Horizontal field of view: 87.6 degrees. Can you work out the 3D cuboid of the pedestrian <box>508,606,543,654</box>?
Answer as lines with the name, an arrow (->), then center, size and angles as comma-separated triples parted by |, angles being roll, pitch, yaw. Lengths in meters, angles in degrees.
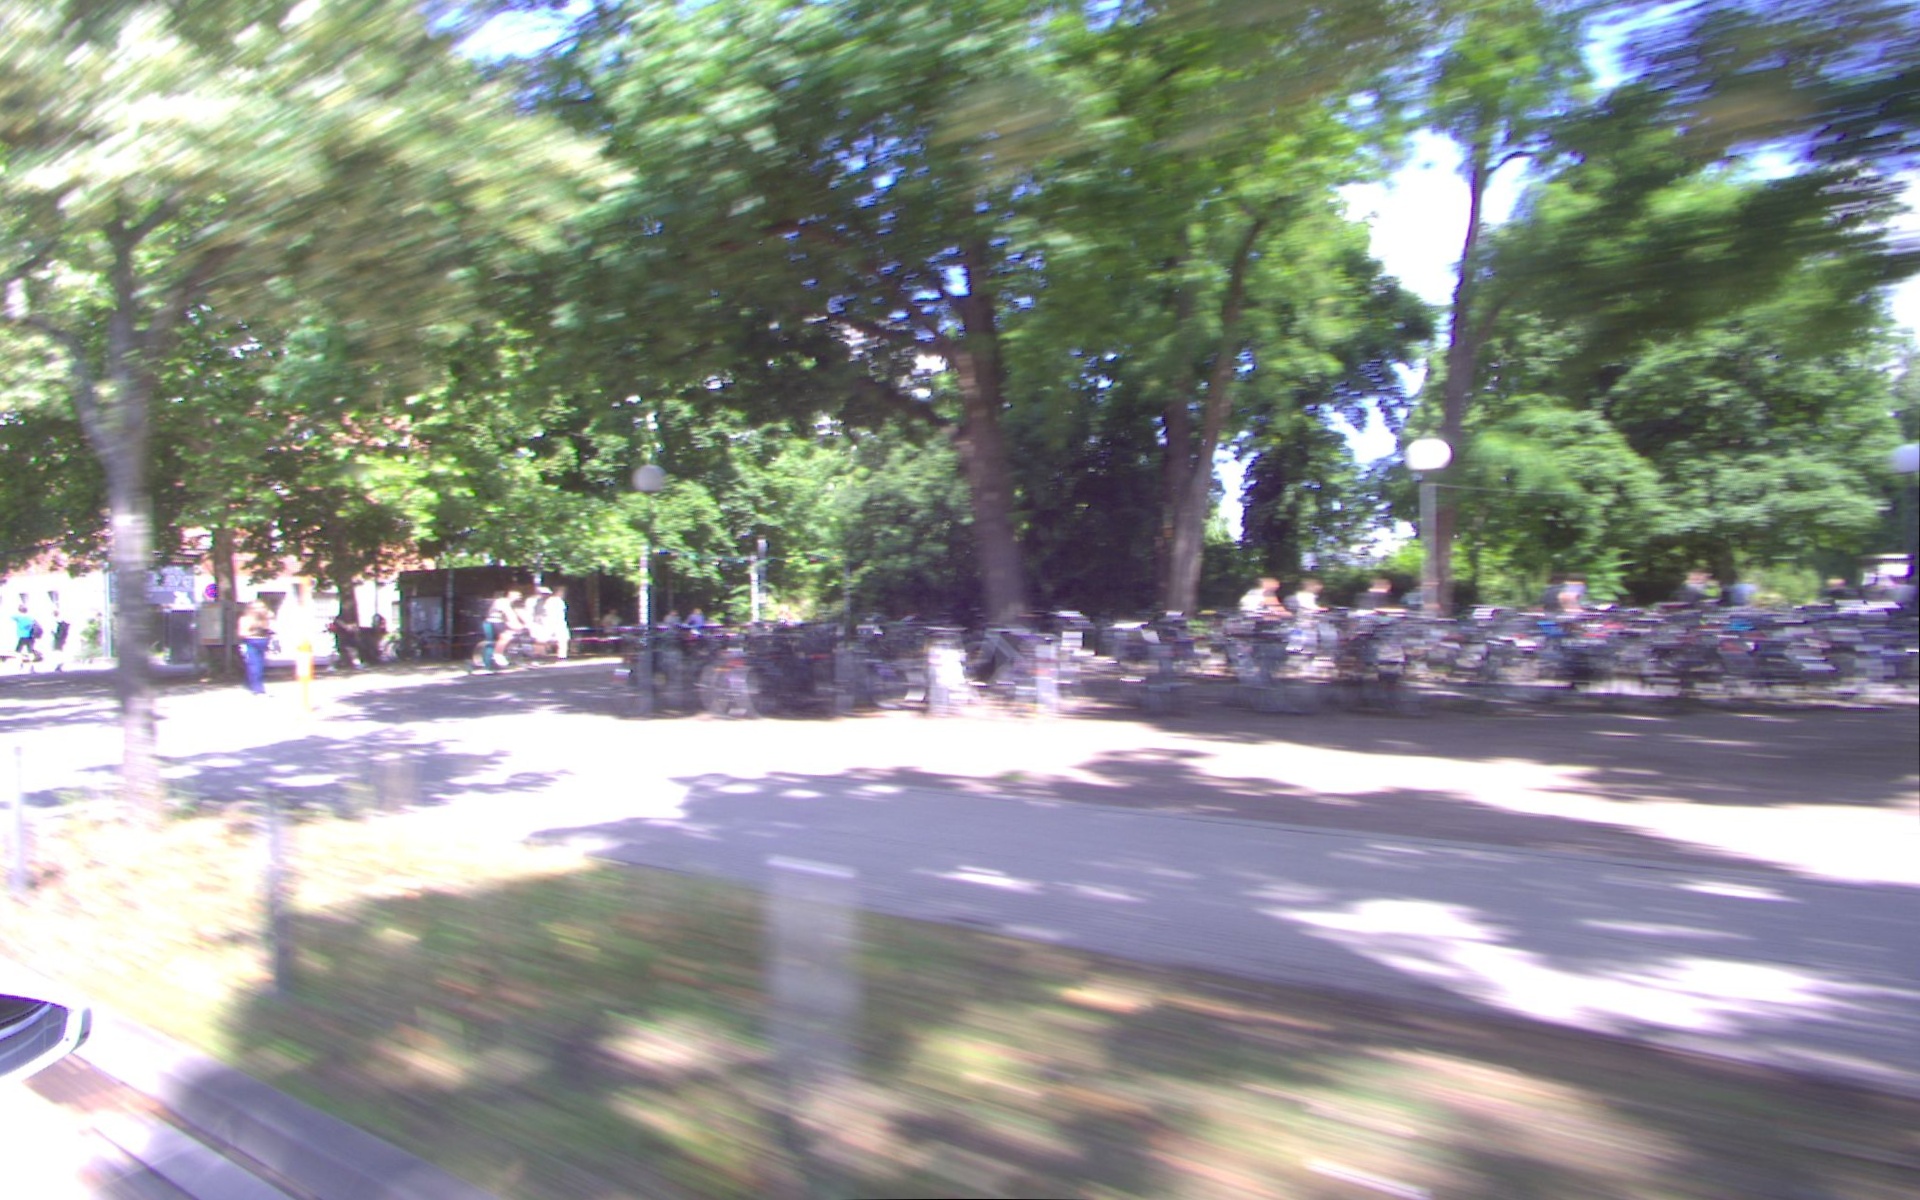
pedestrian -> -12.839, 0.887, 29.610 | 0.718, 1.365, 0.568 | 0, 3, 28

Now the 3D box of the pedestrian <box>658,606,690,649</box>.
pedestrian -> -8.870, 0.844, 31.037 | 0.612, 1.289, 0.665 | 0, 3, 27

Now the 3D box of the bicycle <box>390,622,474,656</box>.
bicycle -> -17.598, 1.288, 33.435 | 0.775, 1.085, 2.383 | -2, -2, 44

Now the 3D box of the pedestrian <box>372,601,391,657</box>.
pedestrian -> -20.053, 1.005, 34.730 | 0.523, 1.907, 0.445 | 0, 0, 42

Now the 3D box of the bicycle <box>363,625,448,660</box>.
bicycle -> -18.698, 1.413, 33.819 | 0.773, 1.086, 2.386 | -1, -1, 39

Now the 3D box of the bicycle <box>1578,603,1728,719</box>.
bicycle -> 7.700, 0.631, 11.225 | 0.395, 1.186, 1.793 | 0, 0, -2

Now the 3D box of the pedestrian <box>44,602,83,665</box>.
pedestrian -> -26.626, 0.984, 29.736 | 0.716, 1.822, 0.594 | 1, 3, 28

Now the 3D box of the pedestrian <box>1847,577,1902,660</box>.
pedestrian -> 20.329, 0.405, 22.272 | 0.711, 1.799, 0.740 | -1, 1, -33

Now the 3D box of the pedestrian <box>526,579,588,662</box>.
pedestrian -> -9.777, 0.480, 24.321 | 1.058, 1.975, 0.834 | -1, 2, 12

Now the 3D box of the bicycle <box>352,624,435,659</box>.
bicycle -> -19.419, 1.410, 34.366 | 0.775, 1.086, 2.381 | -2, -1, 44

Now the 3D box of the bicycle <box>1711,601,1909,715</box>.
bicycle -> 9.557, 0.605, 11.353 | 0.339, 1.186, 1.842 | -1, 0, -15

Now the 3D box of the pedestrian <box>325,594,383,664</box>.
pedestrian -> -15.949, 0.751, 26.377 | 0.904, 1.799, 0.958 | 0, 1, 24

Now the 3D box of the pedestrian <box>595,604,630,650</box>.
pedestrian -> -10.766, 0.835, 31.035 | 0.708, 1.365, 0.665 | 0, 3, 27

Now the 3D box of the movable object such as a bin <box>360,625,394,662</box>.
movable object such as a bin -> -17.599, 1.305, 30.250 | 0.732, 1.085, 0.598 | -3, -1, 33

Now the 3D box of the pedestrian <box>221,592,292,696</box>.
pedestrian -> -11.165, 0.689, 15.895 | 0.914, 1.592, 0.567 | -1, 1, 32

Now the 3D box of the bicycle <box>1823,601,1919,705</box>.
bicycle -> 11.069, 0.603, 11.653 | 0.339, 1.186, 1.845 | -1, 0, -5

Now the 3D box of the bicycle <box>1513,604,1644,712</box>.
bicycle -> 7.278, 0.642, 11.886 | 0.395, 1.186, 1.793 | 0, 0, -2

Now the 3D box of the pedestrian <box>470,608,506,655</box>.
pedestrian -> -13.902, 0.919, 29.488 | 0.718, 1.365, 0.568 | 0, 3, 28

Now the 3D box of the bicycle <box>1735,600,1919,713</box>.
bicycle -> 9.914, 0.593, 11.441 | 0.339, 1.186, 1.842 | -1, 0, -15

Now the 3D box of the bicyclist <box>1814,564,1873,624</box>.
bicyclist -> 21.753, -0.149, 24.665 | 0.788, 1.466, 0.744 | 0, 1, -11

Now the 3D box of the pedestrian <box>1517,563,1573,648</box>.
pedestrian -> 12.504, 0.113, 21.422 | 0.707, 1.799, 0.744 | 0, 1, -8

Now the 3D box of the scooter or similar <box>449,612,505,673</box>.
scooter or similar -> -10.106, 0.884, 20.936 | 1.276, 1.235, 0.423 | -2, 0, 33

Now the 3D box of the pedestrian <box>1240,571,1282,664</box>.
pedestrian -> 5.994, 0.343, 19.931 | 0.709, 1.799, 0.742 | 0, 1, 24

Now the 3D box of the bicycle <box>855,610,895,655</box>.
bicycle -> -2.134, 0.807, 25.395 | 0.427, 1.053, 1.958 | -1, 1, 13

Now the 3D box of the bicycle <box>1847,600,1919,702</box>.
bicycle -> 11.400, 0.593, 11.680 | 0.339, 1.186, 1.845 | -1, 0, -5

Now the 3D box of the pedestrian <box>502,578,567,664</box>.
pedestrian -> -9.952, 0.487, 23.451 | 1.058, 1.975, 0.834 | -1, 2, 12

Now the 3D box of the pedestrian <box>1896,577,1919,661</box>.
pedestrian -> 20.830, 0.411, 21.627 | 0.711, 1.799, 0.740 | -1, 1, -33

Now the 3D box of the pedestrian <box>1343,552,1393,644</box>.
pedestrian -> 8.149, -0.043, 20.018 | 0.707, 1.799, 0.744 | 0, 1, 1

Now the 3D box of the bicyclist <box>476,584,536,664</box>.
bicyclist -> -10.190, 0.532, 22.470 | 1.058, 1.753, 0.531 | -1, 2, 12

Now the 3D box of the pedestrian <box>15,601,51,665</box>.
pedestrian -> -26.776, 0.941, 28.921 | 0.400, 1.822, 0.594 | 1, 3, 28

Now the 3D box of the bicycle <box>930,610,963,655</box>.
bicycle -> -0.315, 0.790, 24.991 | 0.469, 1.053, 1.783 | -1, 1, 10

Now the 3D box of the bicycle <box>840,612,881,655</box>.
bicycle -> -2.529, 0.840, 25.598 | 0.430, 0.992, 1.958 | -1, 1, 13

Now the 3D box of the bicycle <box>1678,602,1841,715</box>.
bicycle -> 9.047, 0.615, 11.426 | 0.339, 1.186, 1.845 | 0, 0, -2

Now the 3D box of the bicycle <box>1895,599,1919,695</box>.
bicycle -> 12.105, 0.581, 11.790 | 0.346, 1.186, 1.845 | -1, 0, -5

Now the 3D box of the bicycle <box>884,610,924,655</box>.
bicycle -> -1.408, 0.794, 25.374 | 0.469, 1.053, 1.958 | -1, 1, 13

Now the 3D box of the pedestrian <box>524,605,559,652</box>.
pedestrian -> -12.591, 0.860, 30.133 | 0.718, 1.365, 0.568 | 0, 3, 28

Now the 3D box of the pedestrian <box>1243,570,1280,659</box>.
pedestrian -> 6.248, 0.293, 20.779 | 0.707, 1.799, 0.744 | 0, 1, 15

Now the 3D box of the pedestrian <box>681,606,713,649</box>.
pedestrian -> -8.065, 0.835, 30.740 | 0.612, 1.289, 0.665 | 0, 3, 27

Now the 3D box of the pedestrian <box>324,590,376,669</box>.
pedestrian -> -14.777, 0.699, 24.270 | 0.812, 1.879, 0.763 | -1, 1, 32

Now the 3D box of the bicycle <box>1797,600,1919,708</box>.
bicycle -> 10.730, 0.598, 11.625 | 0.339, 1.186, 1.844 | -1, 0, -5

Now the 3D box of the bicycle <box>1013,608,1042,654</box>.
bicycle -> 1.660, 0.731, 24.452 | 0.469, 1.053, 1.752 | -1, 1, 10

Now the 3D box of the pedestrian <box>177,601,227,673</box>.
pedestrian -> -18.216, 0.885, 24.073 | 0.777, 1.683, 0.696 | -1, 1, 32

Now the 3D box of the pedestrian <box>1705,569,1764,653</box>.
pedestrian -> 16.806, 0.231, 21.747 | 0.708, 1.799, 0.743 | 0, 1, -20

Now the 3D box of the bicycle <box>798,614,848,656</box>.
bicycle -> -3.450, 0.870, 25.428 | 0.601, 0.992, 1.958 | -1, 1, 13

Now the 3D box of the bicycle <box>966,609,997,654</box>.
bicycle -> 0.551, 0.767, 24.983 | 0.469, 1.053, 1.831 | -1, 1, 10

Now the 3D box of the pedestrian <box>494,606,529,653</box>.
pedestrian -> -13.526, 0.881, 30.207 | 0.718, 1.365, 0.568 | 0, 3, 28

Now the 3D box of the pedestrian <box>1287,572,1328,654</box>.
pedestrian -> 7.777, 0.290, 22.444 | 0.707, 1.799, 0.744 | 0, 1, 7

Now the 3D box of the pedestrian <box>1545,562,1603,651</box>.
pedestrian -> 12.632, 0.139, 20.620 | 0.707, 1.799, 0.744 | 0, 1, -8

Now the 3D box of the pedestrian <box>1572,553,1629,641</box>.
pedestrian -> 13.392, -0.064, 20.950 | 0.707, 1.799, 0.744 | 0, 1, 0

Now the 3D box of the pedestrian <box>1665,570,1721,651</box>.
pedestrian -> 16.552, 0.227, 22.612 | 0.708, 1.799, 0.743 | 0, 1, -20

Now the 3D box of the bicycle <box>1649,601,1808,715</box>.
bicycle -> 8.699, 0.611, 11.430 | 0.339, 1.186, 1.845 | 0, 0, -2

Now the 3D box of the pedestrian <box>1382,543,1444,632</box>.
pedestrian -> 9.462, -0.256, 20.954 | 0.954, 1.799, 0.963 | 0, 1, 10

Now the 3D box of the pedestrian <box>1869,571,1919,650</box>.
pedestrian -> 22.056, 0.245, 23.461 | 0.977, 1.799, 0.838 | -1, 1, -28

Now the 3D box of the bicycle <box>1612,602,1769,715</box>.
bicycle -> 8.331, 0.623, 11.517 | 0.395, 1.186, 1.845 | 0, 0, -2

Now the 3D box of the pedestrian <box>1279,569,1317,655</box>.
pedestrian -> 7.198, 0.246, 21.327 | 0.709, 1.799, 0.742 | 0, 1, 24

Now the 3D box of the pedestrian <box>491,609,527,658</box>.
pedestrian -> -13.110, 0.959, 29.102 | 0.718, 1.365, 0.568 | 0, 3, 28

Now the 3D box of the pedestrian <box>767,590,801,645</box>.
pedestrian -> -5.228, 0.506, 29.779 | 0.707, 1.604, 0.665 | 0, 3, 27

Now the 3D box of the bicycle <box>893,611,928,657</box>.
bicycle -> -1.203, 0.817, 24.533 | 0.426, 1.053, 1.783 | -1, 1, 10
